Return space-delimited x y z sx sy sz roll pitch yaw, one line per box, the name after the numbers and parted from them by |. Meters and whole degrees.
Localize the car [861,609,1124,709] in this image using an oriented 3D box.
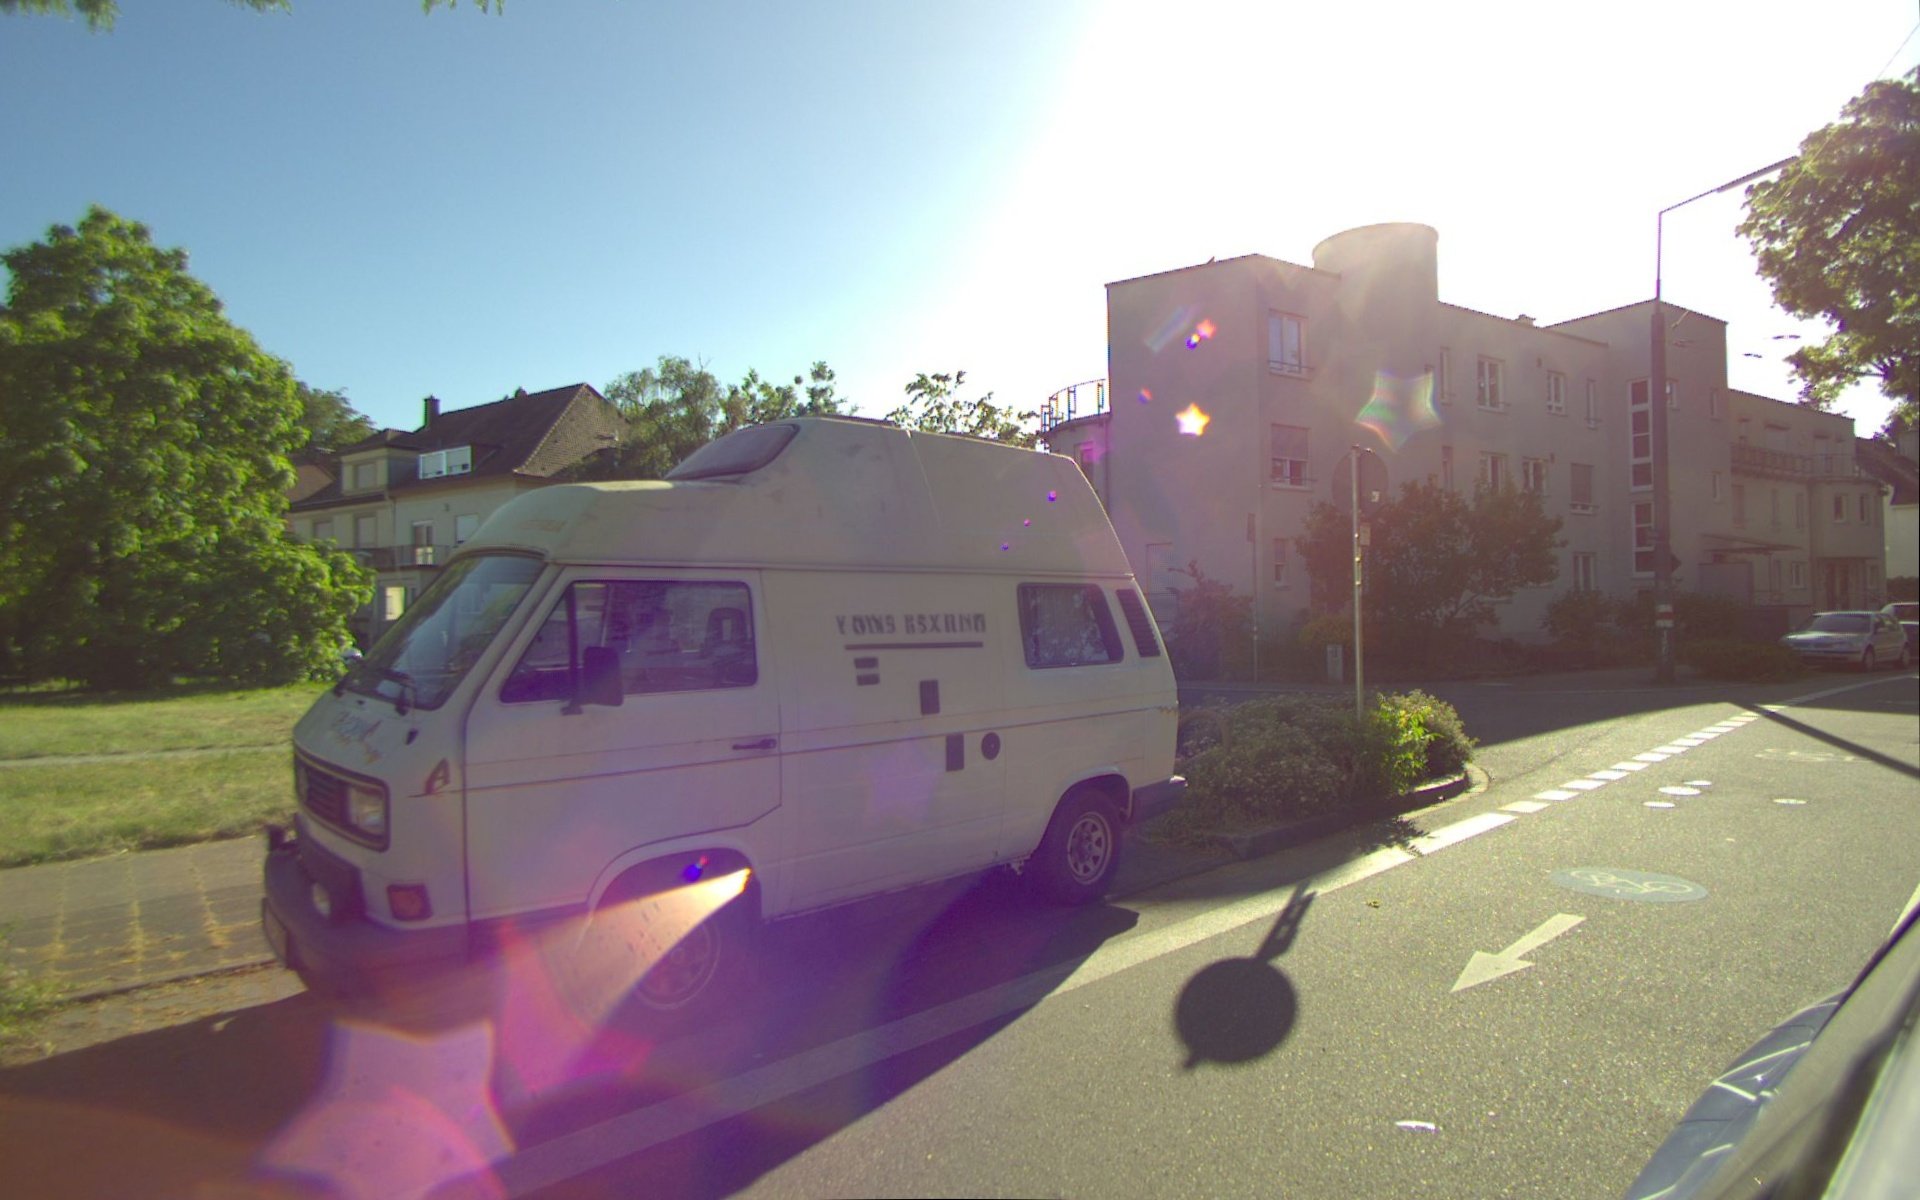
0.559 1.013 18.697 4.427 1.508 1.988 -1 3 32 | car

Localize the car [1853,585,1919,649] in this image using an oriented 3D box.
26.735 0.407 27.792 4.510 1.636 2.002 -1 0 -31 | car

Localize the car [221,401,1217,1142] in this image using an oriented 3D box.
-0.842 0.486 5.230 4.637 2.122 1.995 0 -1 -43 | car

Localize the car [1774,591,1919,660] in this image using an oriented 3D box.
21.969 0.571 24.783 4.441 1.515 1.744 -1 -1 -32 | car
